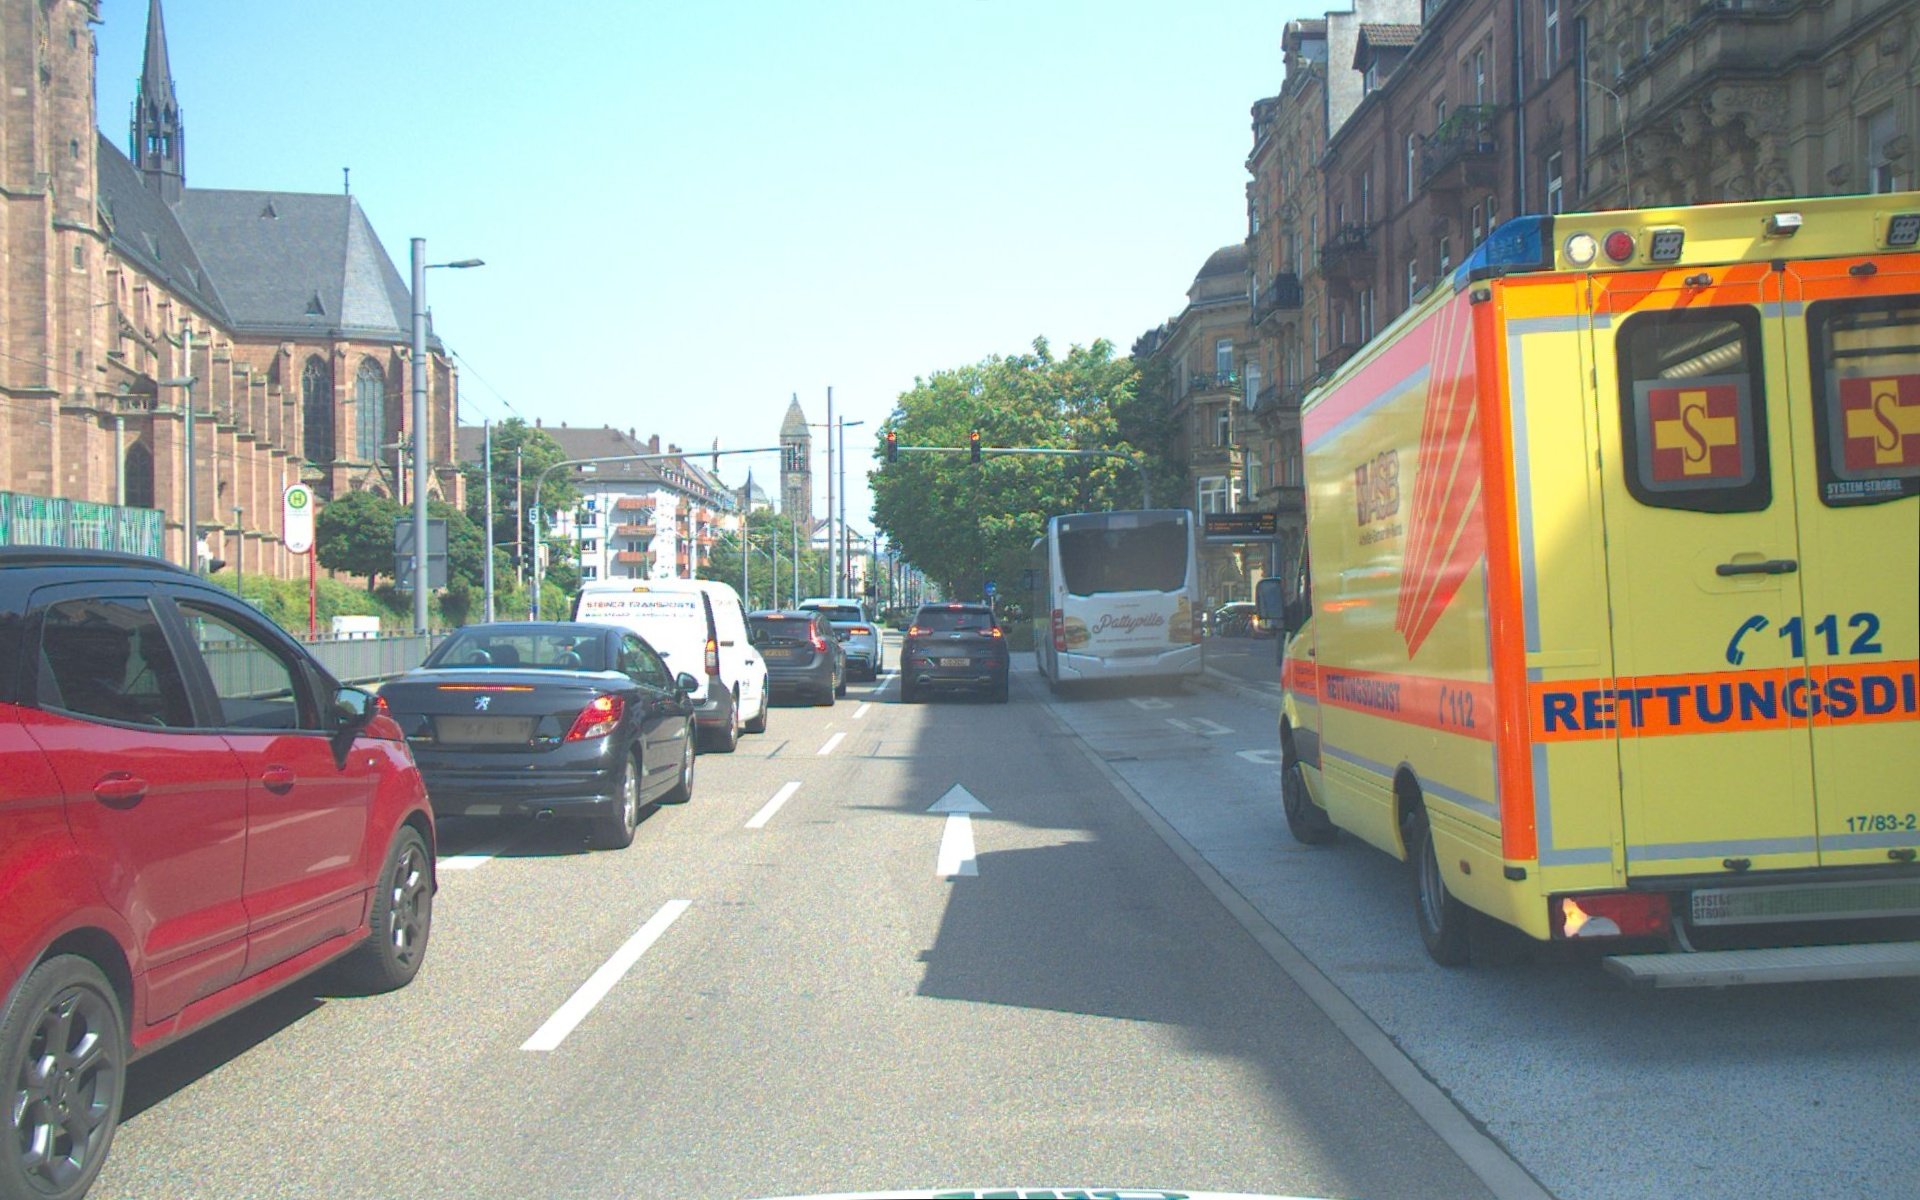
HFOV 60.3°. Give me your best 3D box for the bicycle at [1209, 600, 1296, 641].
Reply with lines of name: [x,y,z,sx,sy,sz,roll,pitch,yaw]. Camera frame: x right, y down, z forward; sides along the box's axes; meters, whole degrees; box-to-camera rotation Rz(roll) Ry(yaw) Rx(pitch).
bicycle: [10.406,0.725,58.896,2.933,1.395,0.871,-1,0,-2]

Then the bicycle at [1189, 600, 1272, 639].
bicycle: [10.235,0.728,62.603,2.943,1.397,0.947,-1,0,-2]

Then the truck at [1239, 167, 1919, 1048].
truck: [3.059,0.021,8.583,2.280,2.818,6.340,-3,0,2]

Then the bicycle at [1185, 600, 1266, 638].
bicycle: [10.228,0.730,63.698,2.943,1.397,0.947,-1,0,-2]

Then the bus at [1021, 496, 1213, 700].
bus: [2.774,-0.006,32.903,2.687,3.161,11.956,-3,0,1]

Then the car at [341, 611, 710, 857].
car: [-2.844,0.804,11.656,1.654,1.438,3.800,0,0,-1]

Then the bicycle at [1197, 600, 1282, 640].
bicycle: [10.244,0.716,60.712,2.933,1.395,0.871,-1,0,-2]

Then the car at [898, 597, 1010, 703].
car: [-0.086,0.807,28.815,1.795,1.680,4.308,1,0,0]

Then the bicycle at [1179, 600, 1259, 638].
bicycle: [10.126,0.736,64.706,2.943,1.397,0.947,-1,0,-2]

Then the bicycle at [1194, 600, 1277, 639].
bicycle: [10.251,0.733,61.660,2.933,1.395,0.871,-1,0,-2]

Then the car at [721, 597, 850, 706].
car: [-2.802,0.789,27.317,1.712,1.643,4.307,1,0,-1]

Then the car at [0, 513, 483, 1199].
car: [-2.882,0.637,5.175,1.596,1.649,3.967,0,0,0]

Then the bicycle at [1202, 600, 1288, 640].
bicycle: [10.298,0.713,59.800,2.933,1.395,0.871,-1,0,-2]

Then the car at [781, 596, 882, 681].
car: [-2.659,0.773,35.166,1.863,1.680,4.307,0,0,-1]

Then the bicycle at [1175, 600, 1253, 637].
bicycle: [10.112,0.730,66.023,2.943,1.397,0.947,-1,0,-2]

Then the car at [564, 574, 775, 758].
car: [-3.176,0.677,18.890,1.712,1.852,4.238,0,0,-1]

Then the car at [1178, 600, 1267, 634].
car: [12.418,0.795,78.324,3.858,1.547,1.679,-1,0,-8]
